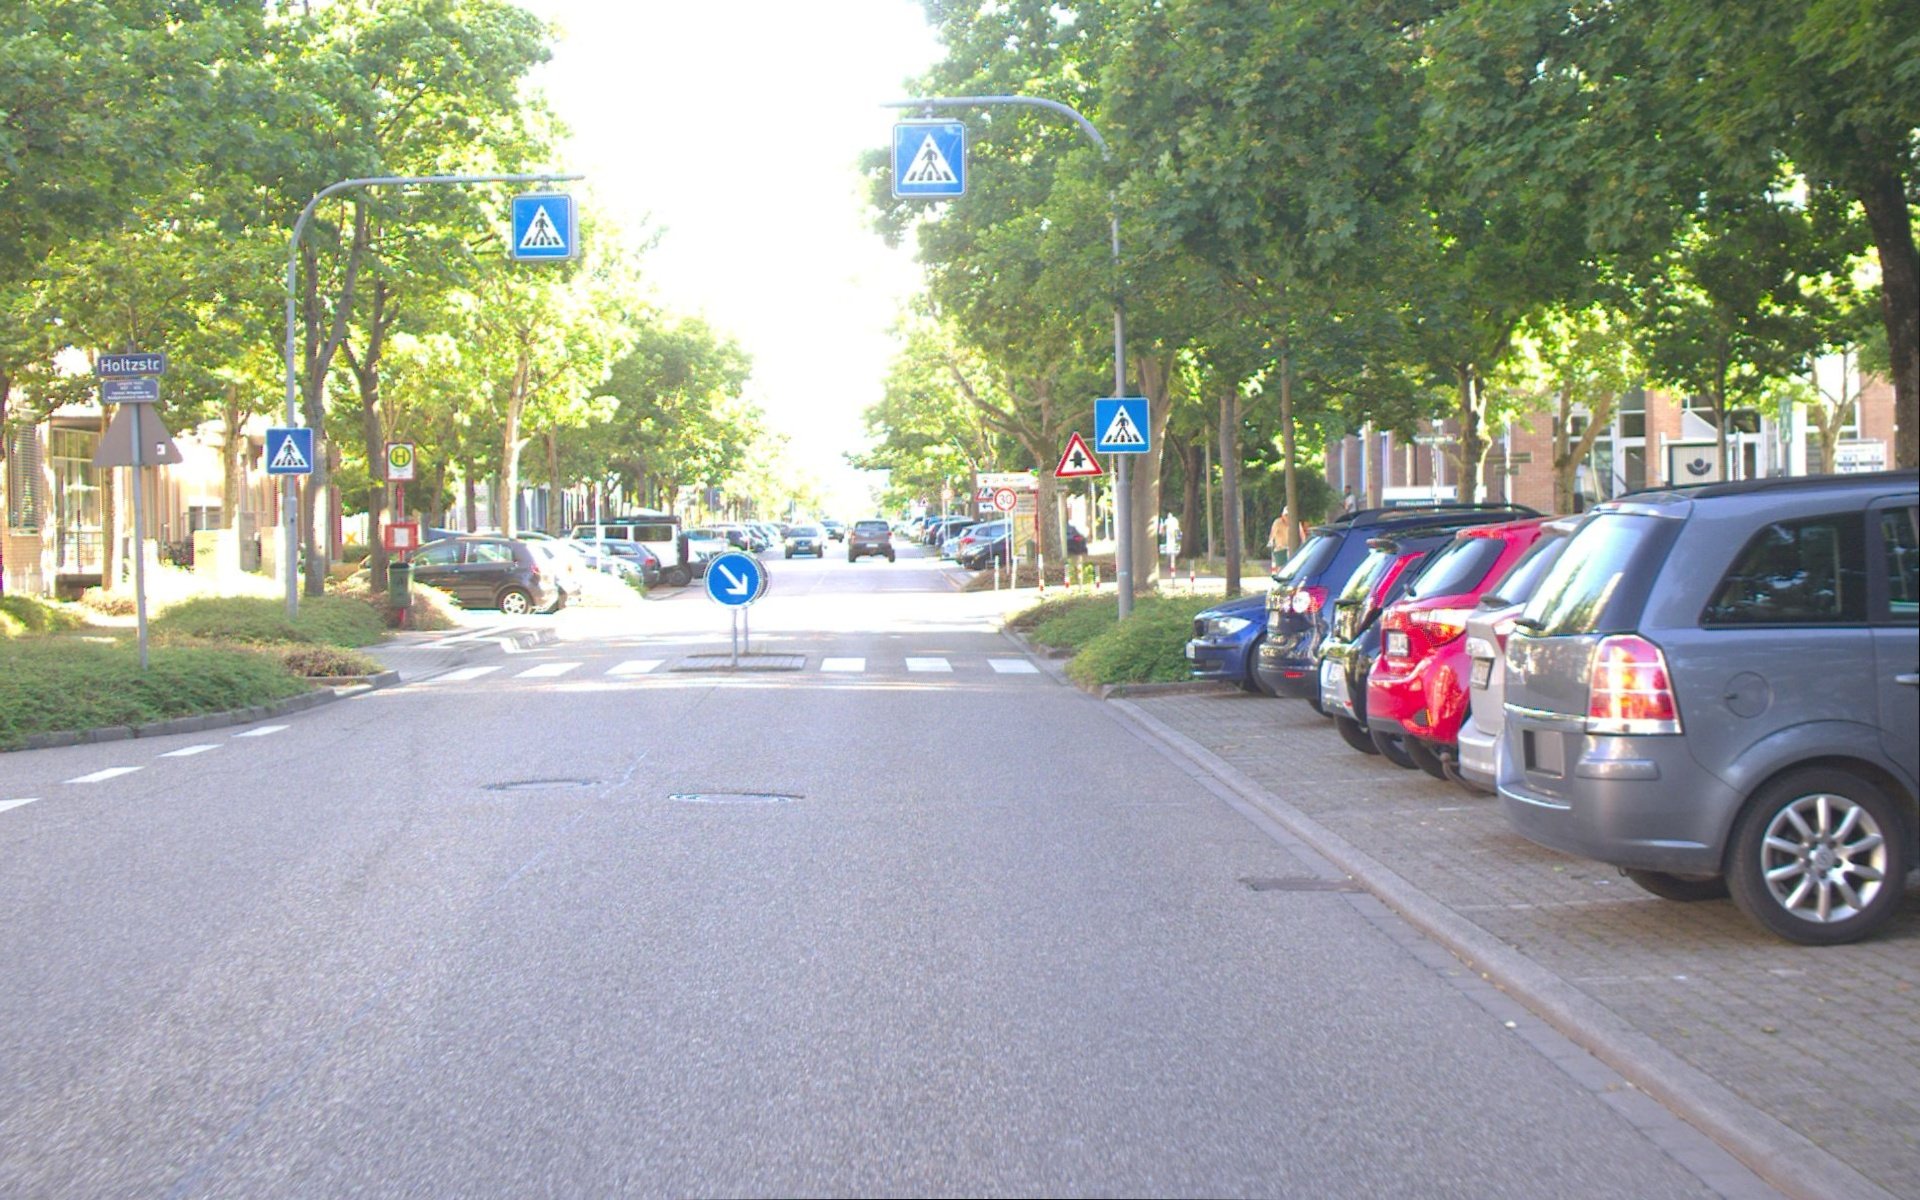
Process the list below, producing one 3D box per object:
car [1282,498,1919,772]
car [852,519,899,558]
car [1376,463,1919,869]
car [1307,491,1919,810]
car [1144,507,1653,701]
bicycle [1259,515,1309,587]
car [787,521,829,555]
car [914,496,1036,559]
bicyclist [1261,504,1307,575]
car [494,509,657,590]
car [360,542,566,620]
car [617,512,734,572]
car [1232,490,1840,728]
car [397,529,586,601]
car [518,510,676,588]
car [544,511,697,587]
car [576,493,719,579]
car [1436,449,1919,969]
[{"bbox_3d":[4.279,0.180,21.576,4.190,1.443,1.813,-3,1,-4],"label":"car"},{"bbox_3d":[-3.642,-2.663,148.325,1.993,1.634,4.000,0,1,-1],"label":"car"},{"bbox_3d":[4.216,0.211,15.963,4.190,1.663,1.813,-3,1,-4],"label":"car"},{"bbox_3d":[4.207,0.223,19.264,4.190,1.530,1.813,-3,1,-4],"label":"car"},{"bbox_3d":[3.876,0.017,30.842,4.190,1.468,1.813,-3,1,-4],"label":"car"},{"bbox_3d":[5.642,-0.856,59.763,0.684,1.210,1.975,-2,1,10],"label":"bicycle"},{"bbox_3d":[-7.273,-2.976,164.501,1.813,1.519,4.000,-2,1,-1],"label":"car"},{"bbox_3d":[0.489,-2.466,116.987,3.986,2.007,2.000,-2,1,-3],"label":"car"},{"bbox_3d":[5.634,-1.060,59.748,0.698,1.210,0.945,-2,1,10],"label":"bicyclist"},{"bbox_3d":[-10.236,-1.350,91.728,3.987,2.007,2.000,-2,1,3],"label":"car"},{"bbox_3d":[-9.658,-0.376,66.993,3.848,1.468,1.813,0,1,-4],"label":"car"},{"bbox_3d":[-10.049,-2.062,121.676,3.986,2.007,2.000,-2,1,-3],"label":"car"},{"bbox_3d":[4.319,0.045,26.176,4.190,1.530,1.813,-3,1,-4],"label":"car"},{"bbox_3d":[-9.729,-0.729,71.512,3.847,1.468,1.813,0,1,-7],"label":"car"},{"bbox_3d":[-9.978,-1.403,94.645,3.987,2.007,2.000,-2,1,3],"label":"car"},{"bbox_3d":[-9.577,-1.440,97.226,3.987,2.007,2.000,-2,1,3],"label":"car"},{"bbox_3d":[-9.299,-1.919,102.550,3.987,2.532,1.862,0,1,4],"label":"car"},{"bbox_3d":[4.131,0.270,12.666,4.350,1.698,1.813,-3,1,-4],"label":"car"}]
